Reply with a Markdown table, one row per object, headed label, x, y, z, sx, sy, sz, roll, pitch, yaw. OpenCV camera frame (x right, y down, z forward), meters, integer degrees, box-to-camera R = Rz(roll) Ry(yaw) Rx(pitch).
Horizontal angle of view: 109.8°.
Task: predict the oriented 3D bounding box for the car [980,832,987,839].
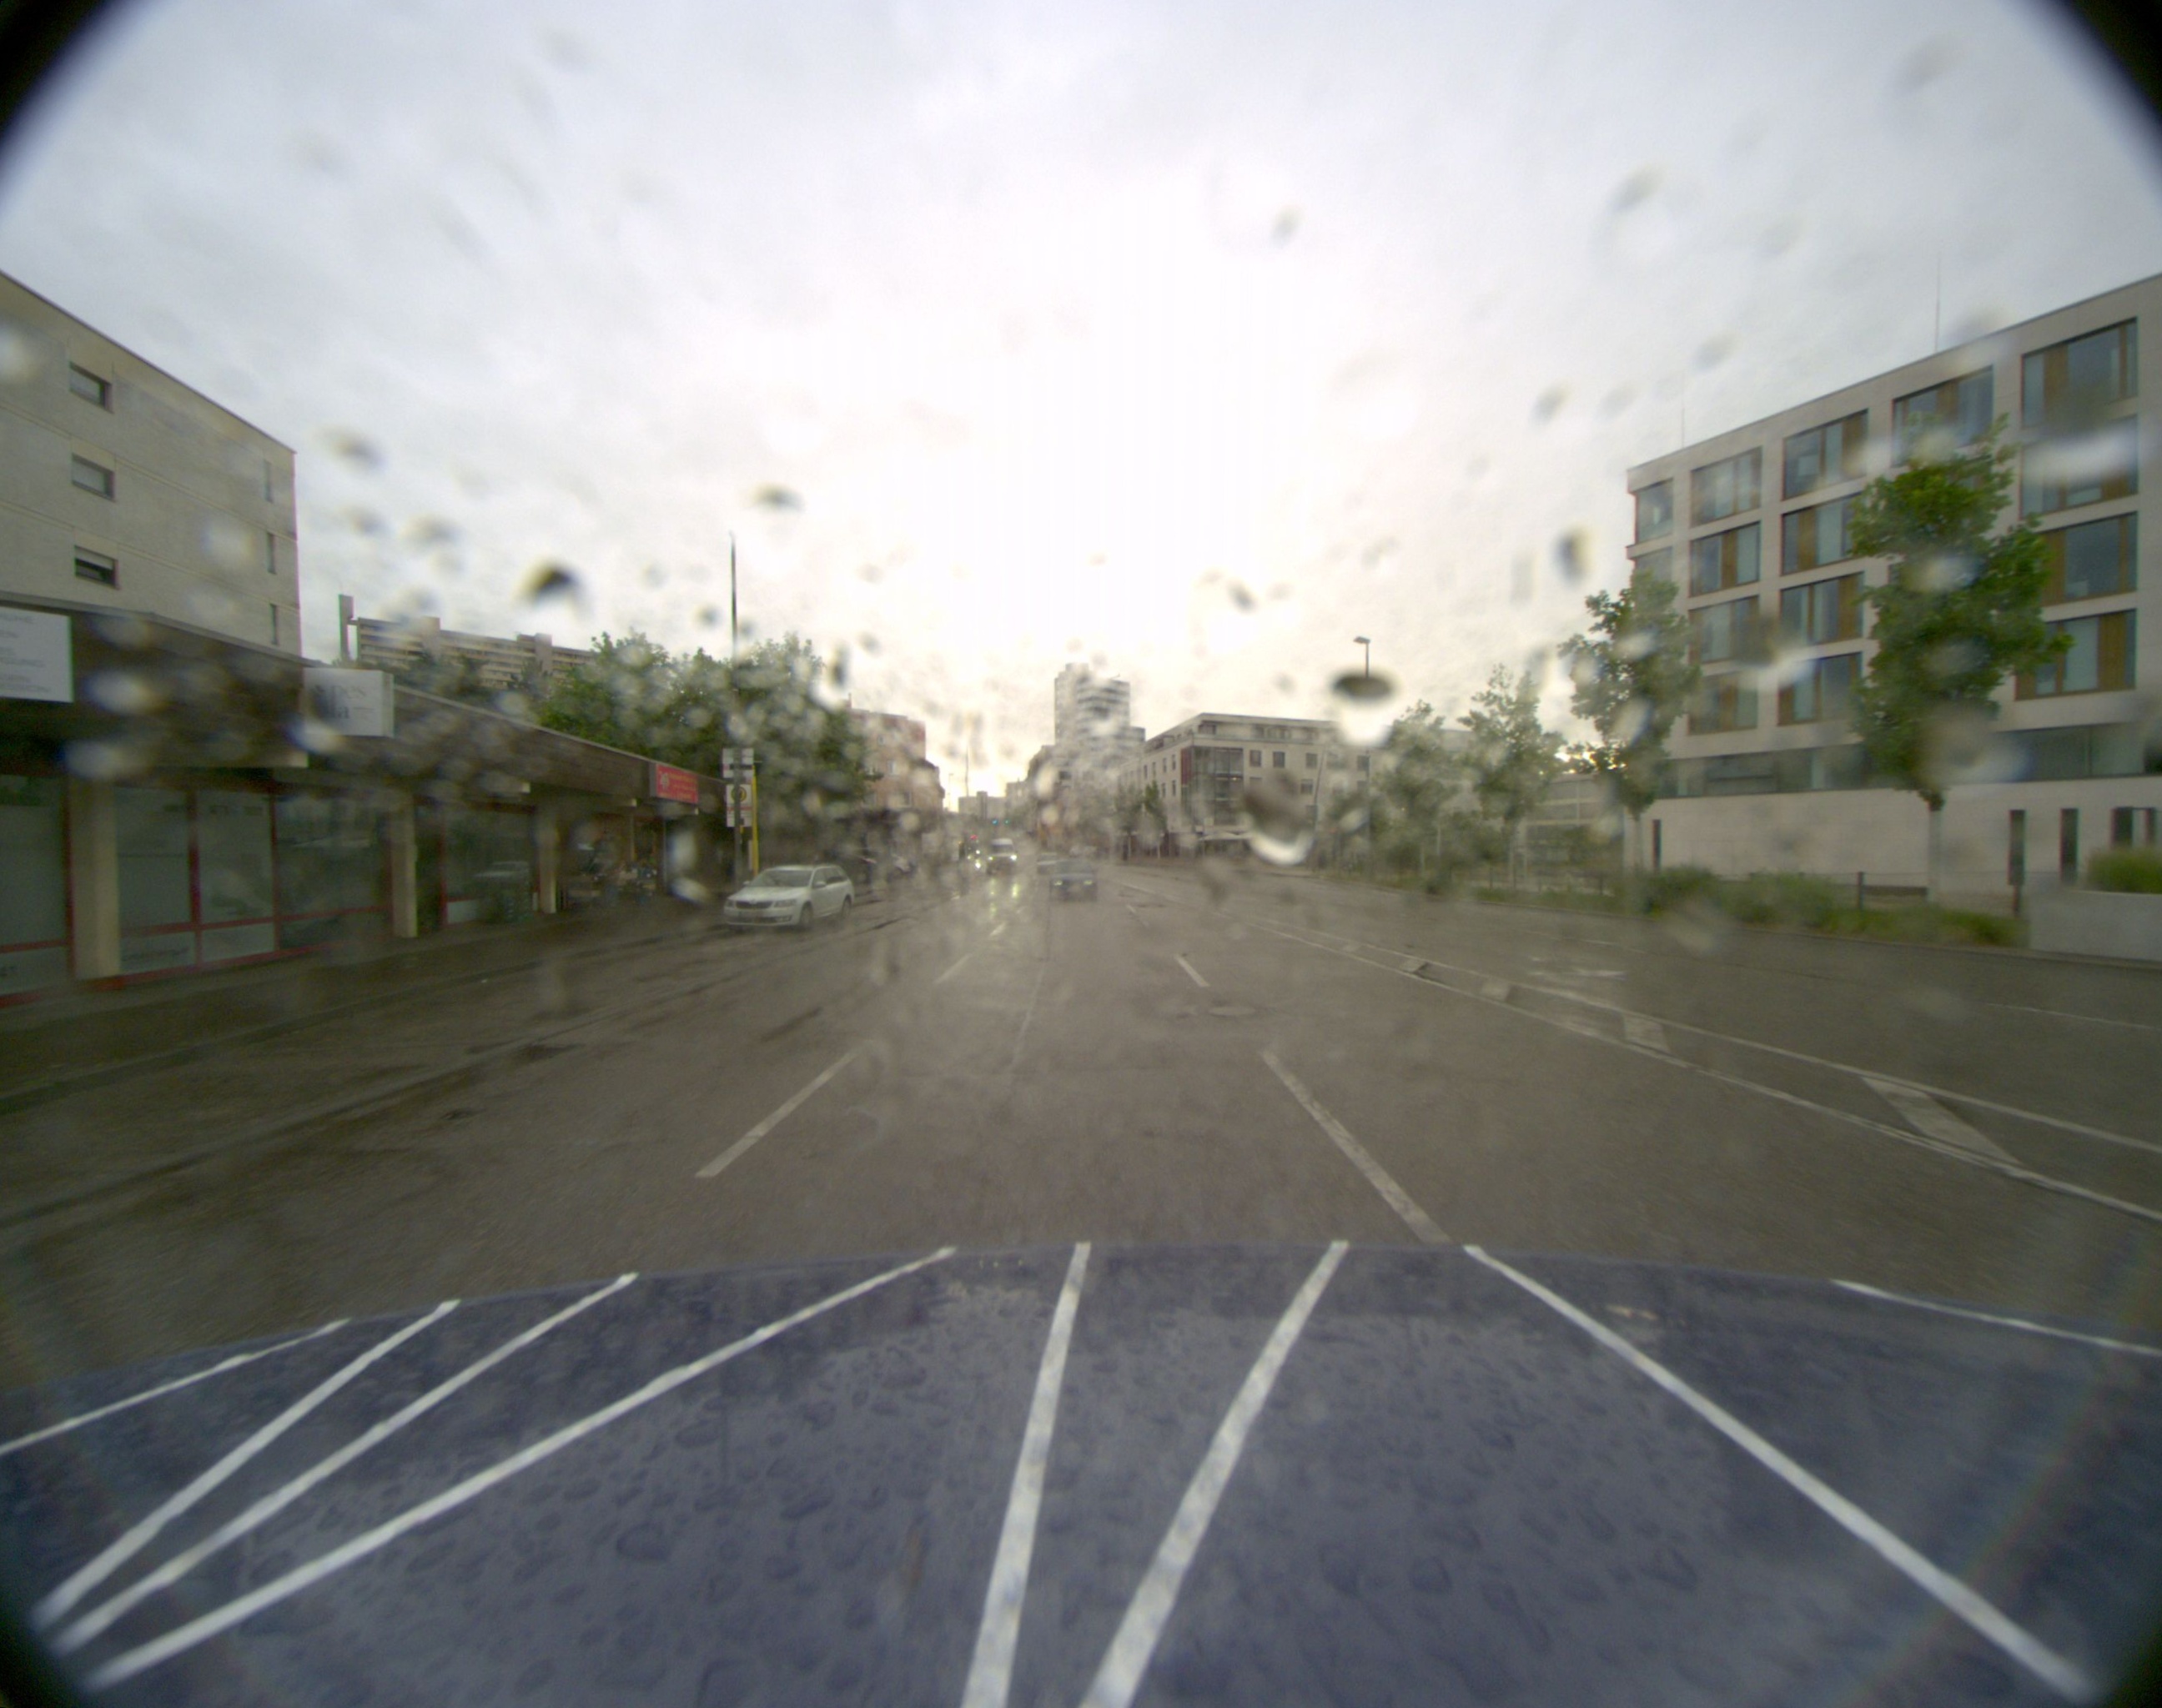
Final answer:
| label | x | y | z | sx | sy | sz | roll | pitch | yaw |
| --- | --- | --- | --- | --- | --- | --- | --- | --- | --- |
| car | -25.685 | -4.814 | 199.625 | 1.666 | 1.624 | 3.802 | -2 | 0 | -11 |

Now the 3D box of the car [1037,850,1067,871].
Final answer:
| label | x | y | z | sx | sy | sz | roll | pitch | yaw |
| --- | --- | --- | --- | --- | --- | --- | --- | --- | --- |
| car | -2.016 | 0.435 | 53.813 | 1.788 | 1.338 | 4.162 | -2 | 1 | 1 |

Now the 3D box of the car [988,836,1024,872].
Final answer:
| label | x | y | z | sx | sy | sz | roll | pitch | yaw |
| --- | --- | --- | --- | --- | --- | --- | --- | --- | --- |
| car | -5.558 | -0.022 | 57.385 | 2.197 | 2.503 | 6.121 | -2 | 1 | -2 |

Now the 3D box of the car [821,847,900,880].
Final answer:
| label | x | y | z | sx | sy | sz | roll | pitch | yaw |
| --- | --- | --- | --- | --- | --- | --- | --- | --- | --- |
| car | -12.227 | 0.516 | 42.385 | 4.000 | 1.769 | 1.882 | -1 | 0 | -10 |

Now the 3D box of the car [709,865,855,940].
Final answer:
| label | x | y | z | sx | sy | sz | roll | pitch | yaw |
| --- | --- | --- | --- | --- | --- | --- | --- | --- | --- |
| car | -6.958 | 1.058 | 18.189 | 1.788 | 1.481 | 4.000 | -2 | 0 | 1 |

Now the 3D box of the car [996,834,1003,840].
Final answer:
| label | x | y | z | sx | sy | sz | roll | pitch | yaw |
| --- | --- | --- | --- | --- | --- | --- | --- | --- | --- |
| car | -23.158 | -4.789 | 215.734 | 1.666 | 1.624 | 3.802 | -2 | 0 | -8 |

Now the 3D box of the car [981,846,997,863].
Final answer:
| label | x | y | z | sx | sy | sz | roll | pitch | yaw |
| --- | --- | --- | --- | --- | --- | --- | --- | --- | --- |
| car | -11.600 | 0.061 | 95.720 | 1.721 | 1.988 | 3.835 | -2 | 0 | -4 |

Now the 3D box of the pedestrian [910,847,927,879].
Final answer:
| label | x | y | z | sx | sy | sz | roll | pitch | yaw |
| --- | --- | --- | --- | --- | --- | --- | --- | --- | --- |
| pedestrian | -9.175 | 0.486 | 43.028 | 0.750 | 1.771 | 0.752 | -2 | 1 | -2 |

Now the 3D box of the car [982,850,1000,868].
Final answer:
| label | x | y | z | sx | sy | sz | roll | pitch | yaw |
| --- | --- | --- | --- | --- | --- | --- | --- | --- | --- |
| car | -9.495 | 0.521 | 80.530 | 1.721 | 1.739 | 3.835 | -2 | 0 | -4 |

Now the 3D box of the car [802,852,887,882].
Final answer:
| label | x | y | z | sx | sy | sz | roll | pitch | yaw |
| --- | --- | --- | --- | --- | --- | --- | --- | --- | --- |
| car | -12.358 | 0.667 | 39.873 | 4.000 | 1.419 | 1.882 | -1 | 0 | -10 |

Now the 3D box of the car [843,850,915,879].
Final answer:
| label | x | y | z | sx | sy | sz | roll | pitch | yaw |
| --- | --- | --- | --- | --- | --- | --- | --- | --- | --- |
| car | -12.067 | 0.635 | 45.571 | 4.000 | 1.584 | 1.883 | -1 | -1 | -10 |

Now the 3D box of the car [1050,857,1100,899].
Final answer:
| label | x | y | z | sx | sy | sz | roll | pitch | yaw |
| --- | --- | --- | --- | --- | --- | --- | --- | --- | --- |
| car | -0.255 | 0.857 | 28.428 | 1.693 | 1.380 | 3.999 | -2 | 0 | -1 |
